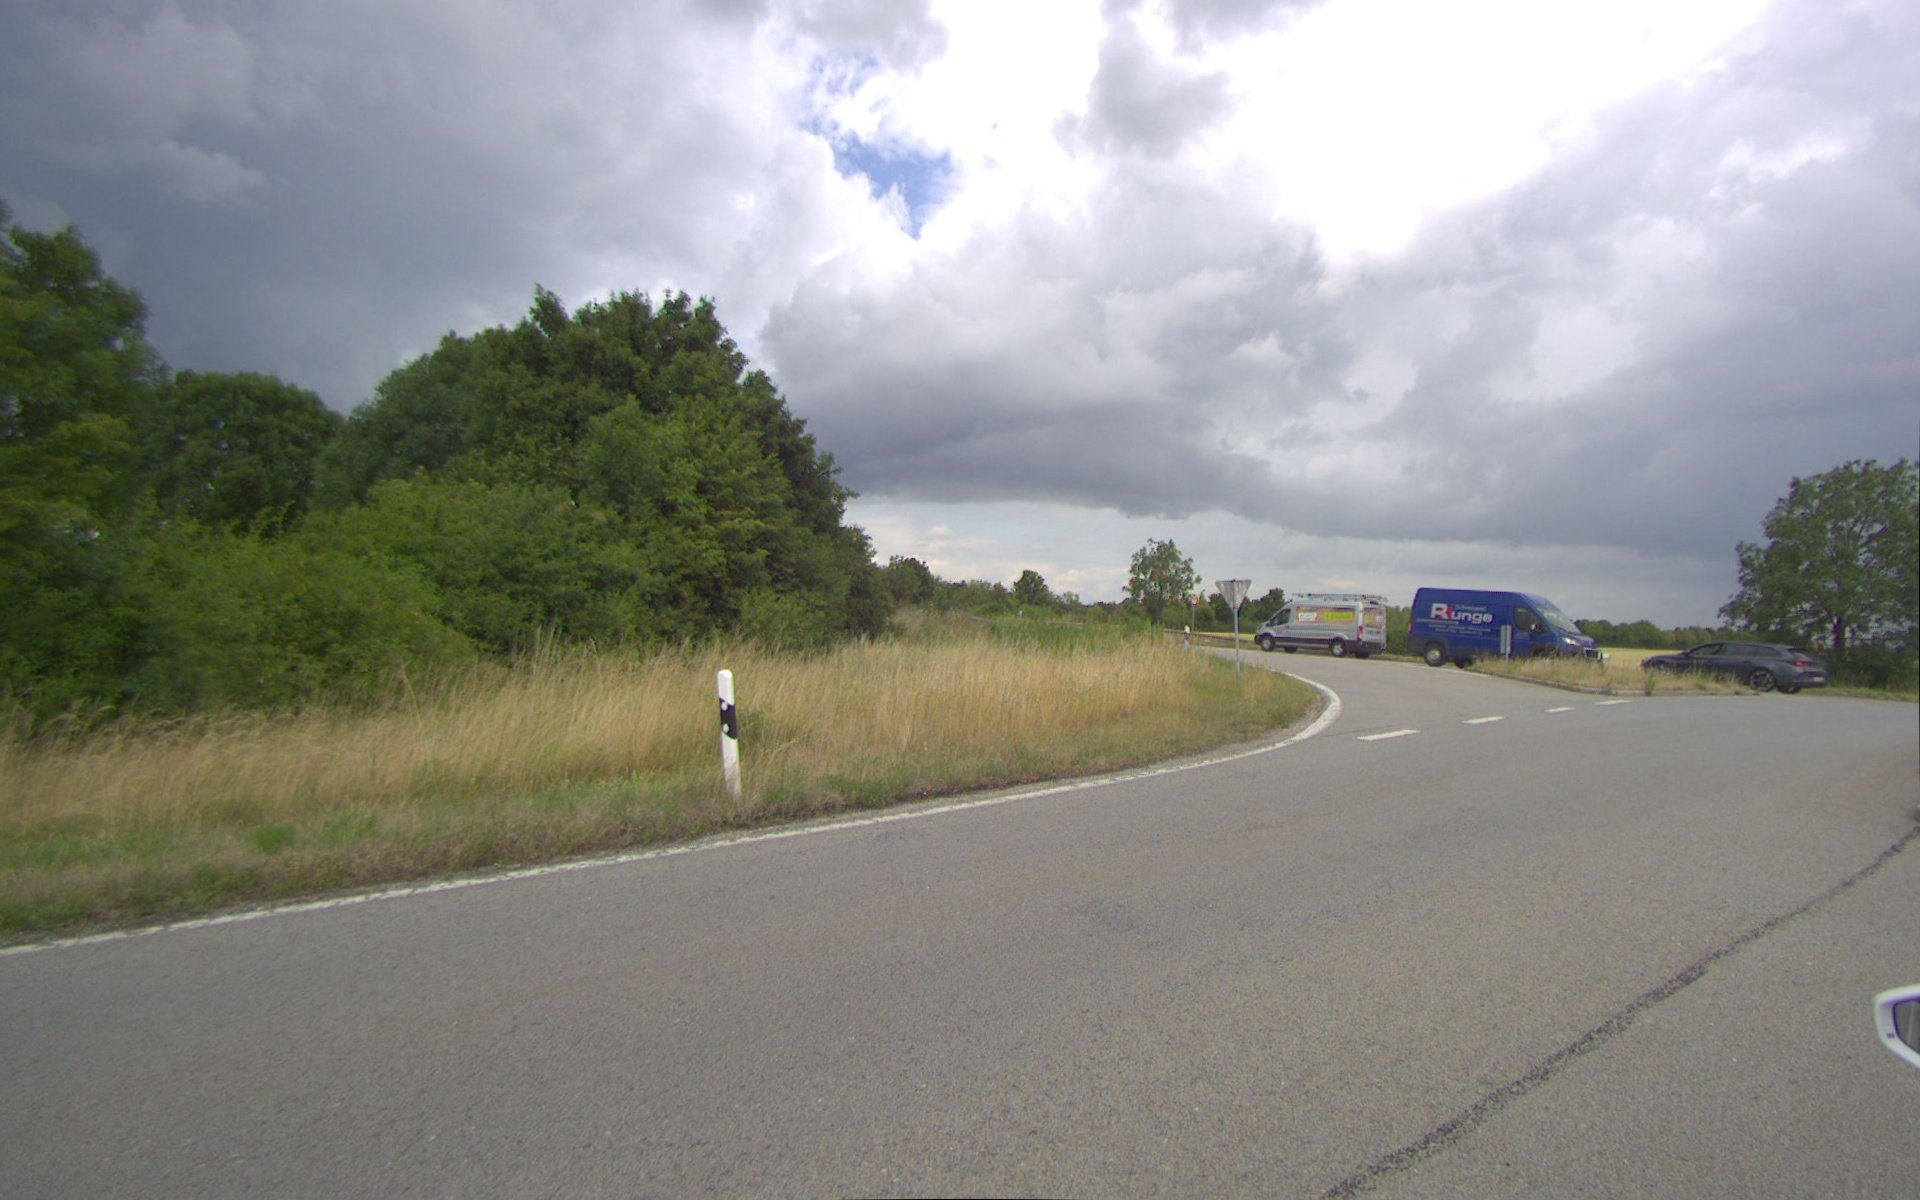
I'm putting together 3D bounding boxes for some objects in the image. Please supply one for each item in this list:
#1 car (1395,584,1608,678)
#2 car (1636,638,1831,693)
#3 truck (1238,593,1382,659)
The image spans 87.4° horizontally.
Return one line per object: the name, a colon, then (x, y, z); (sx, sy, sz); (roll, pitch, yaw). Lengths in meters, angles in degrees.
car: (16.747, 0.902, 31.416); (2.127, 2.674, 5.517); (1, -1, -34)
car: (22.993, 1.895, 30.057); (1.660, 1.362, 4.325); (2, -1, -27)
truck: (15.598, 1.099, 45.083); (2.047, 2.739, 5.981); (1, -1, -36)
